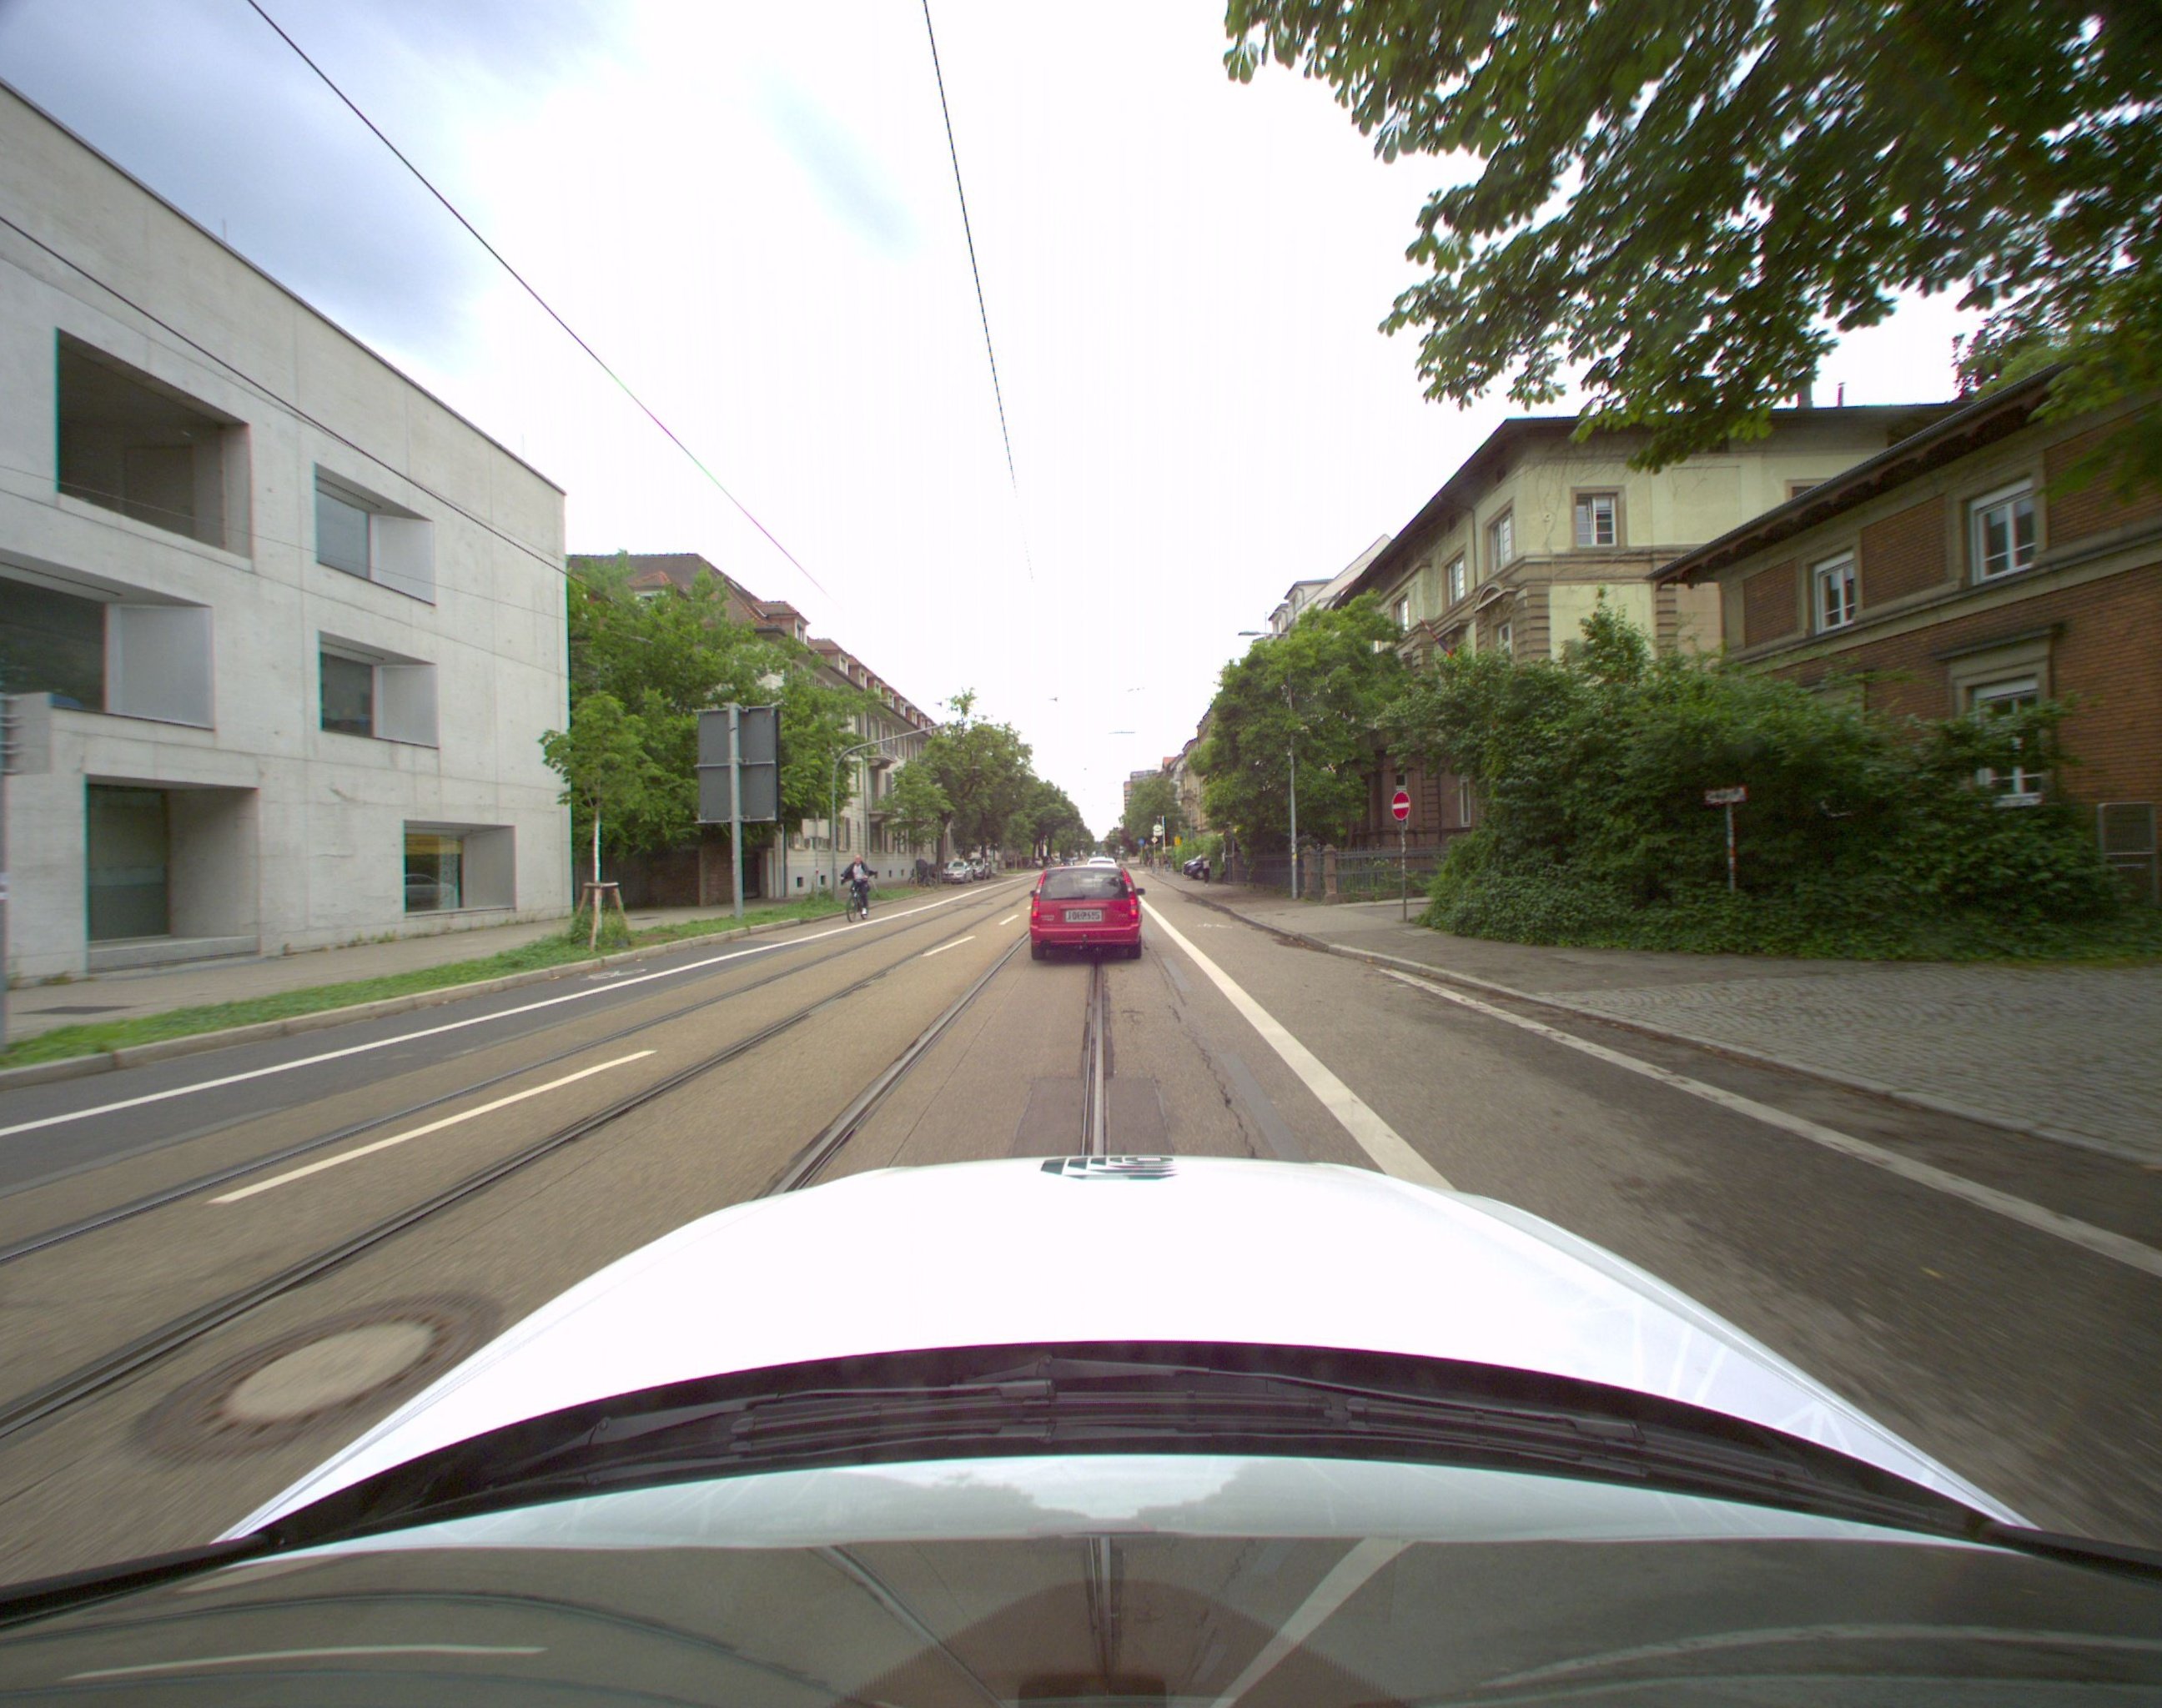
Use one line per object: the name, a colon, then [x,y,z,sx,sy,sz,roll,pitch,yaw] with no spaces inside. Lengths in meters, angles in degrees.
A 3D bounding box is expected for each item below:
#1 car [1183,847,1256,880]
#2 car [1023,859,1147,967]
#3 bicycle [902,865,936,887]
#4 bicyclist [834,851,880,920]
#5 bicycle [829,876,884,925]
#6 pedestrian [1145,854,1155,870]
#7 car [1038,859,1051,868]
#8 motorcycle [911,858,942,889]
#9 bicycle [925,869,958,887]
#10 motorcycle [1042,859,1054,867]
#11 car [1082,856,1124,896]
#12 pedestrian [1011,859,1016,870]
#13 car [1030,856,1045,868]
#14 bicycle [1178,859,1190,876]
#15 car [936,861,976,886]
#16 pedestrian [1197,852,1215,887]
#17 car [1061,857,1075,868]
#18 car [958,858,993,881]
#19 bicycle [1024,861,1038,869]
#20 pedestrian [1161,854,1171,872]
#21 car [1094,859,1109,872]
car: [8.685,0.566,51.290,4.263,1.809,1.825,-3,-1,2]
car: [0.123,0.838,13.217,1.682,1.441,3.744,-2,0,2]
bicycle: [-8.609,1.166,43.260,1.727,1.129,0.520,-2,0,19]
bicyclist: [-6.187,0.849,22.529,0.788,1.783,1.148,-5,-1,1]
bicycle: [-6.160,1.250,22.467,0.788,1.186,2.011,-5,-1,2]
pedestrian: [7.213,0.833,84.651,0.867,1.656,0.912,-2,0,13]
car: [-6.183,1.583,138.254,1.770,1.511,4.239,-1,-1,2]
motorcycle: [-8.578,1.050,45.304,0.827,1.643,2.486,-2,-1,9]
bicycle: [-8.329,1.425,48.816,1.890,1.027,0.563,0,-1,-4]
motorcycle: [-6.415,1.807,159.987,2.243,1.511,0.932,-2,-3,36]
car: [1.022,0.920,35.818,1.711,1.625,3.944,-2,-1,3]
pedestrian: [-9.148,1.363,109.999,0.562,1.467,0.723,-2,-1,1]
car: [-6.359,1.150,119.599,1.891,1.655,4.225,-1,-1,0]
bicycle: [7.295,0.965,57.735,0.630,1.127,1.812,-4,0,1]
car: [-7.995,1.223,52.516,1.805,1.466,4.614,-1,0,1]
pedestrian: [6.289,0.769,41.092,0.621,1.671,0.960,-4,-1,0]
car: [-1.770,1.155,108.862,1.723,1.409,3.656,-2,0,1]
car: [-7.862,1.151,60.932,1.830,1.661,4.295,1,0,2]
bicycle: [-7.019,1.542,115.359,1.915,1.121,0.624,0,-1,0]
pedestrian: [8.081,0.865,77.141,0.790,1.636,0.836,-3,-1,1]
car: [2.752,1.552,110.275,1.736,1.606,3.998,-1,-1,-1]
